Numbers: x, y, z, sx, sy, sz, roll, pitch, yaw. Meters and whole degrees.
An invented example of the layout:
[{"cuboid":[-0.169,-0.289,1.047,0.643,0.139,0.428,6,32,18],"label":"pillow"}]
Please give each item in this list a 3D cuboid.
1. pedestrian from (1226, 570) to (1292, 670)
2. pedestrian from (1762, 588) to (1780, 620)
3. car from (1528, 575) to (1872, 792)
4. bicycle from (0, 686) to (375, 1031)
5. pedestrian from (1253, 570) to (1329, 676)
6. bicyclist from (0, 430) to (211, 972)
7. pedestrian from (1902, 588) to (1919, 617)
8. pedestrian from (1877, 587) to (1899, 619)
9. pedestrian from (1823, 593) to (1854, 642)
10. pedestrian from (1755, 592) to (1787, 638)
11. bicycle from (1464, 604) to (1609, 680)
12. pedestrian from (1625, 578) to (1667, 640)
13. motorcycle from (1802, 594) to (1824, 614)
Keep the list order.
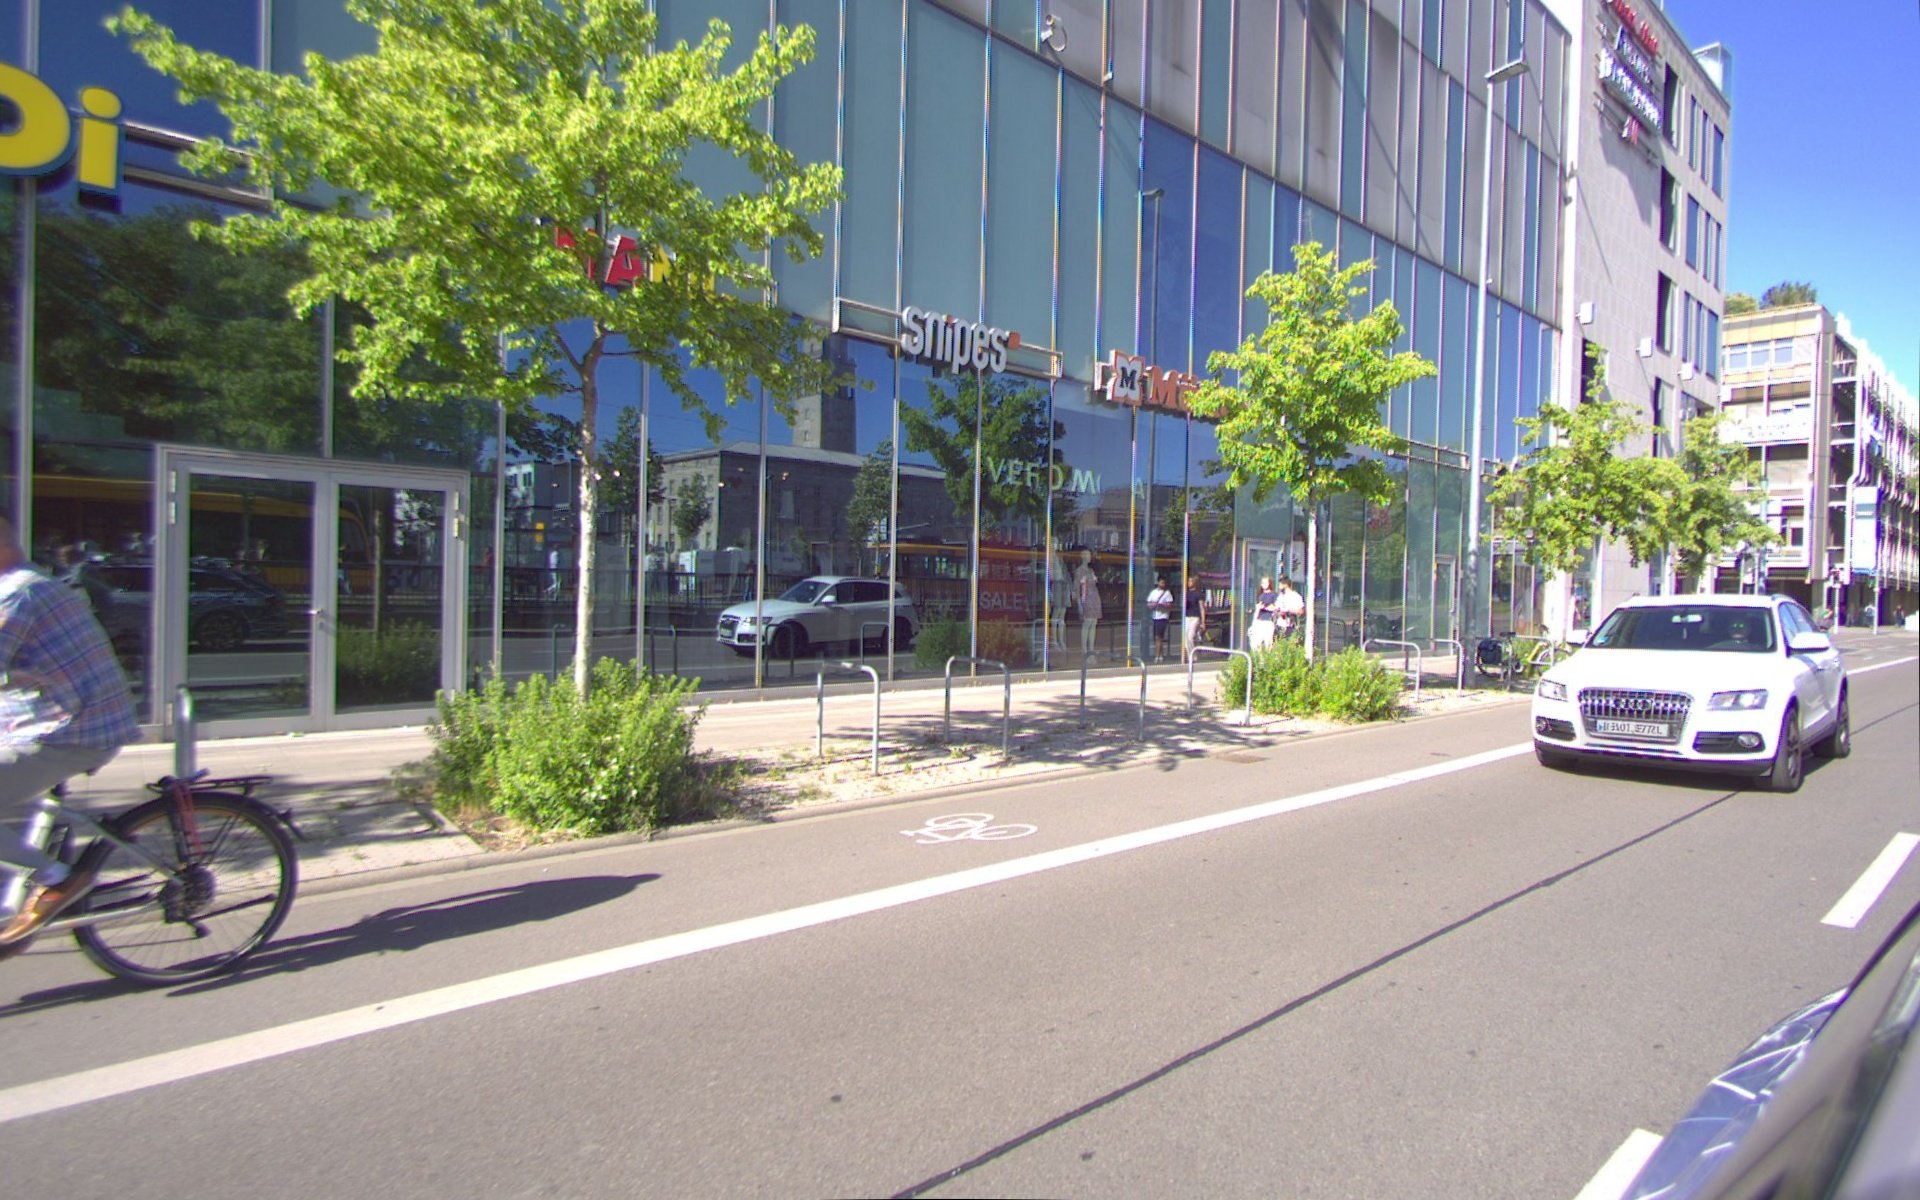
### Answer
[{"cuboid":[5.261,0.339,17.792,0.885,1.678,0.707,0,3,-45],"label":"pedestrian"},{"cuboid":[43.073,0.200,53.730,0.659,1.632,0.519,4,3,41],"label":"pedestrian"},{"cuboid":[7.268,0.633,9.768,4.336,1.634,1.822,0,0,-42],"label":"car"},{"cuboid":[-3.393,0.889,3.478,2.295,0.996,0.729,0,0,-44],"label":"bicycle"},{"cuboid":[5.557,0.365,16.980,0.885,1.678,0.822,1,3,-45],"label":"pedestrian"},{"cuboid":[-3.314,0.319,3.575,0.981,1.758,0.725,0,1,-44],"label":"bicyclist"},{"cuboid":[67.710,0.188,72.027,0.946,2.039,1.063,1,0,42],"label":"pedestrian"},{"cuboid":[60.458,0.189,65.963,0.945,2.039,1.064,2,1,39],"label":"pedestrian"},{"cuboid":[31.581,0.616,36.367,0.686,1.723,0.658,1,3,-42],"label":"pedestrian"},{"cuboid":[29.587,0.538,36.913,0.736,1.628,0.725,2,0,-39],"label":"pedestrian"},{"cuboid":[10.583,0.733,18.668,0.932,1.220,2.094,1,2,-34],"label":"bicycle"},{"cuboid":[20.868,0.265,30.785,1.047,1.823,0.729,1,3,-40],"label":"pedestrian"},{"cuboid":[61.823,0.279,73.354,2.084,1.459,0.825,1,1,-40],"label":"motorcycle"}]
